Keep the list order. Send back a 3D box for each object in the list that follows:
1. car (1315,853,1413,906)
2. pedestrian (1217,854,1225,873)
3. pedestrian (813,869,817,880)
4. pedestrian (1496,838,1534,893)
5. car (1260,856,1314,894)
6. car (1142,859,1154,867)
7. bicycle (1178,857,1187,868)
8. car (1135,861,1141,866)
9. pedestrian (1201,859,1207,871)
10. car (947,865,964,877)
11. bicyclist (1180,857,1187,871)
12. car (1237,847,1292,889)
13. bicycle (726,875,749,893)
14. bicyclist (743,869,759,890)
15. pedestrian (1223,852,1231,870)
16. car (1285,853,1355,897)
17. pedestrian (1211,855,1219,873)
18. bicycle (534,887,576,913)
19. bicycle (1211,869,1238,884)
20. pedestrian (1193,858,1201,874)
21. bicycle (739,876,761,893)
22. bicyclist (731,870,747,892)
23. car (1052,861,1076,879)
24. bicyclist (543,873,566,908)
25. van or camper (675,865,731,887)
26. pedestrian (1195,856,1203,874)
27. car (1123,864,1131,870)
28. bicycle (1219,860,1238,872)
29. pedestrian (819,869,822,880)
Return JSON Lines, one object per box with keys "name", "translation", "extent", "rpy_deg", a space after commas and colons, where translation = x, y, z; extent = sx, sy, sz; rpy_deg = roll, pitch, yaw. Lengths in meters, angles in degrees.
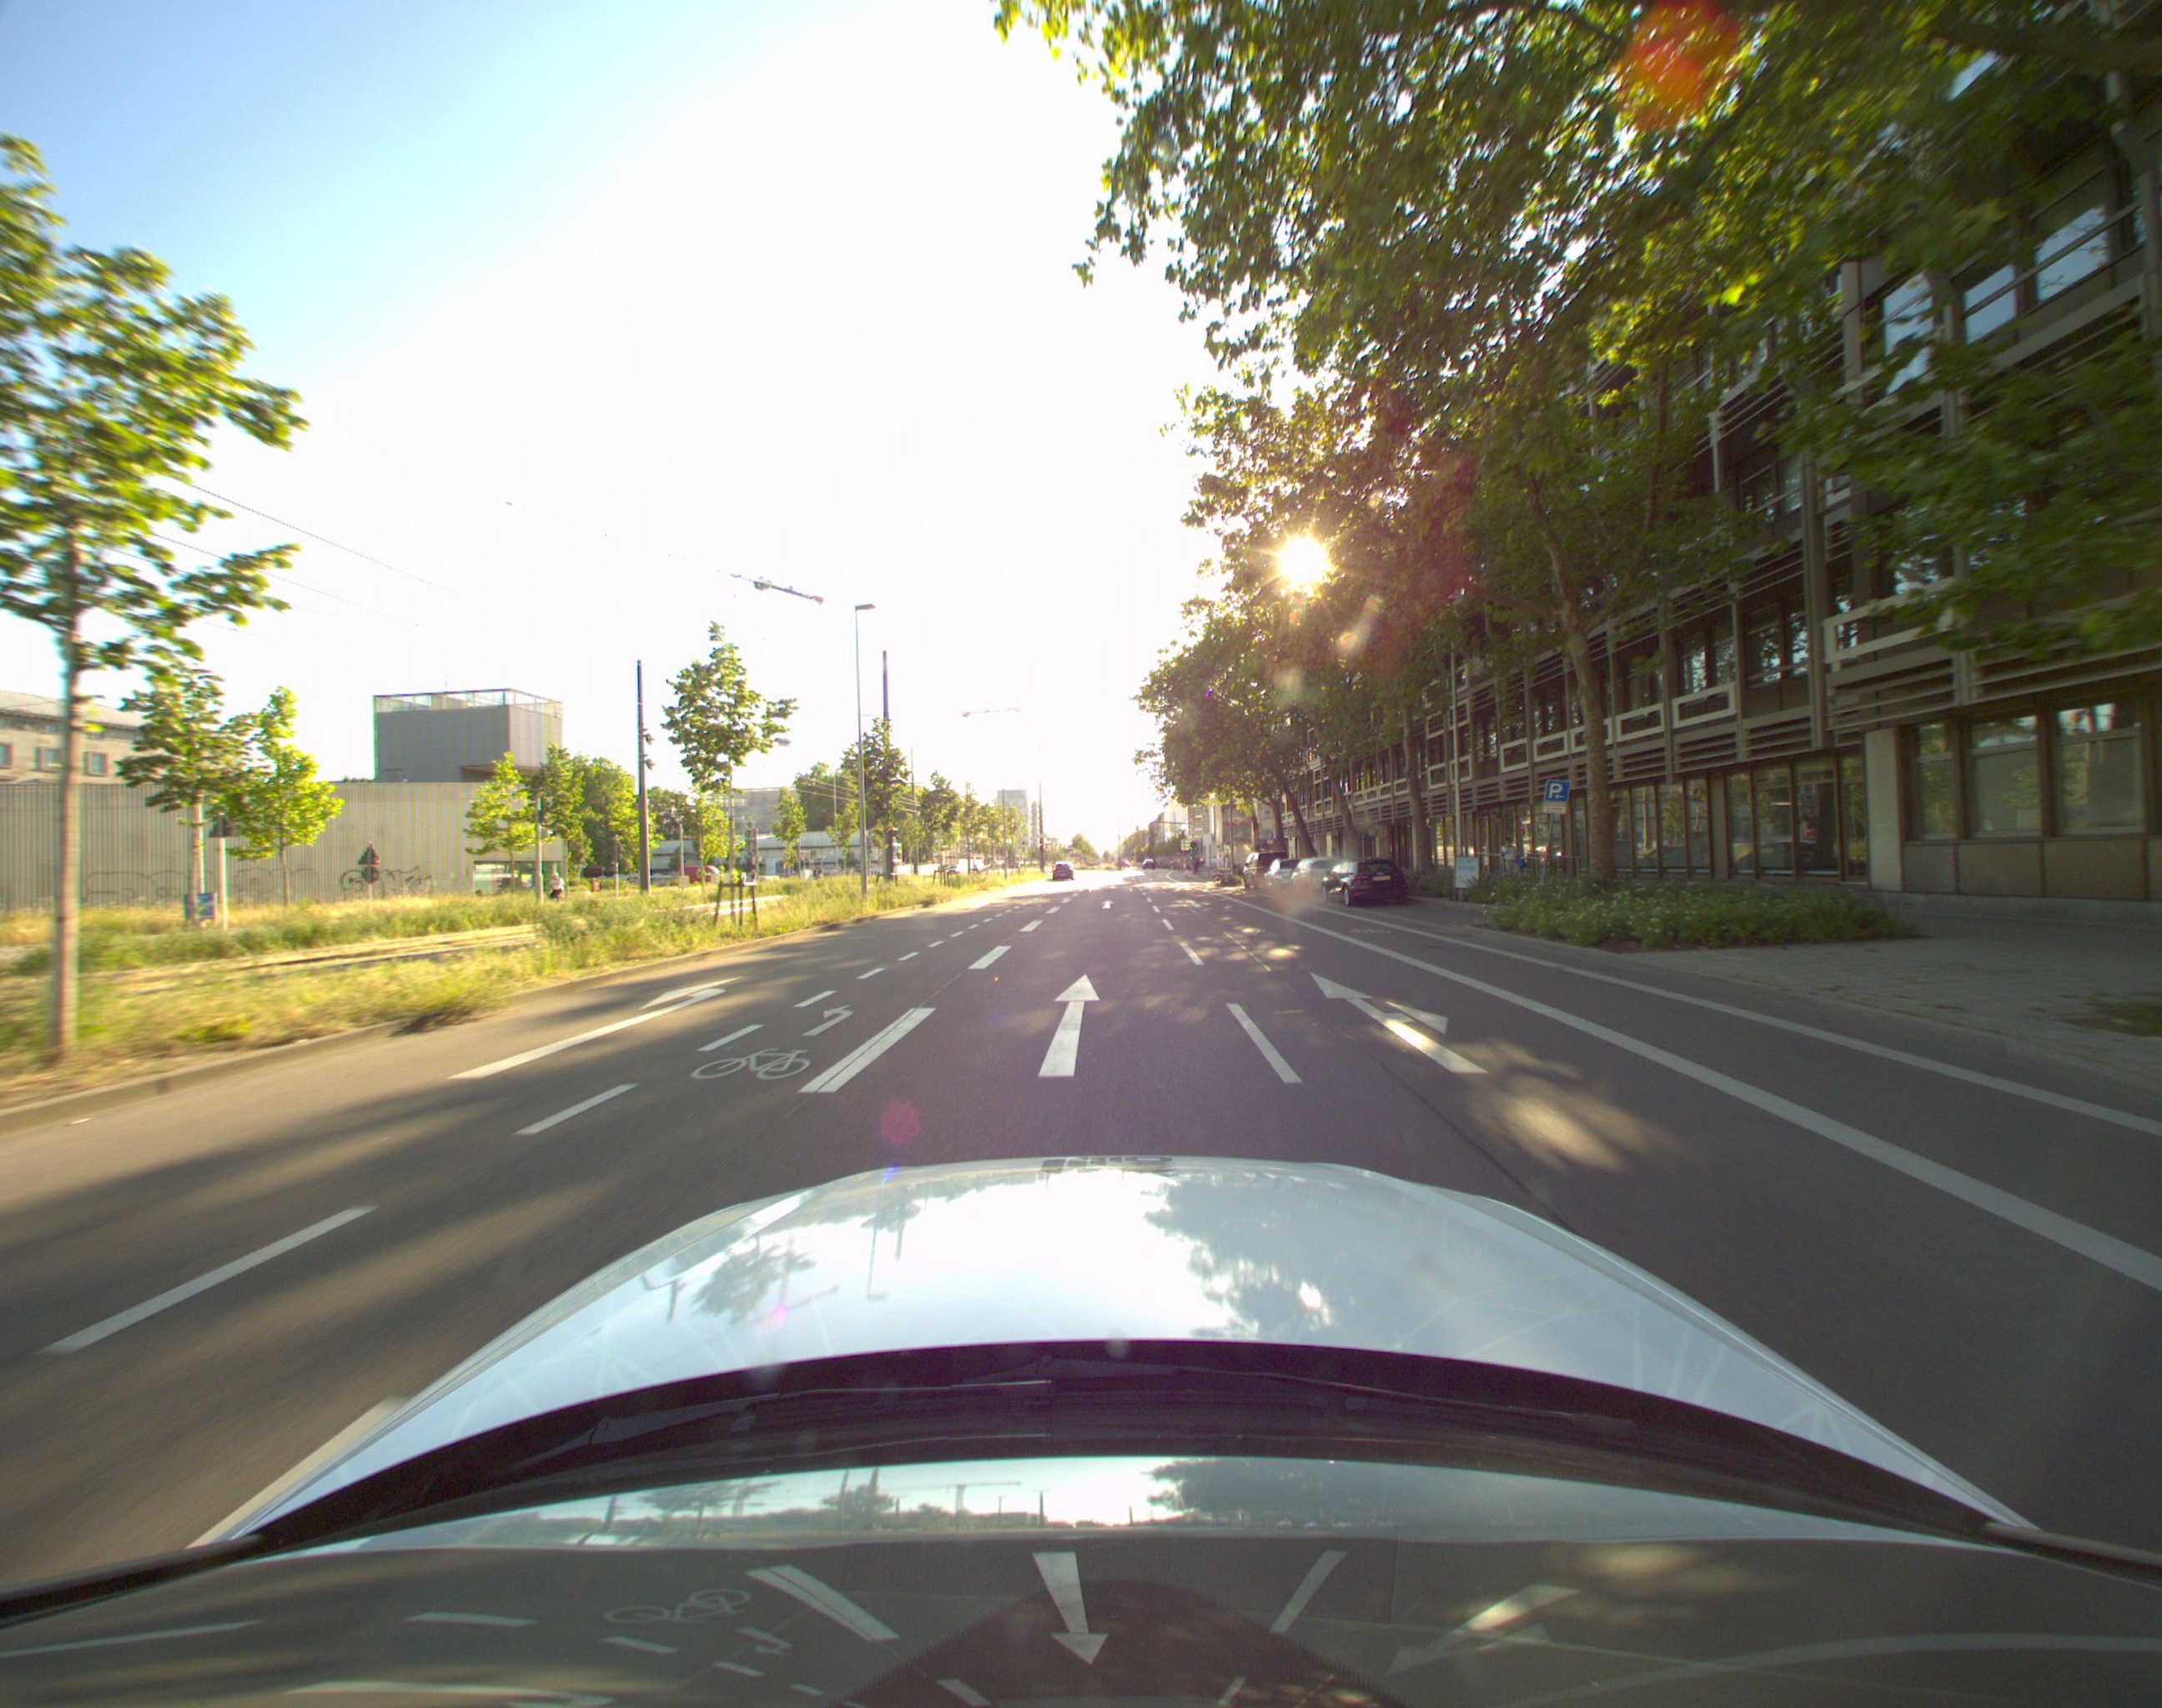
{"name": "car", "translation": [8.751, 0.747, 25.570], "extent": [1.699, 1.418, 4.279], "rpy_deg": [-4, -1, 3]}
{"name": "pedestrian", "translation": [15.963, 1.089, 92.881], "extent": [0.762, 2.060, 0.799], "rpy_deg": [-4, -1, 9]}
{"name": "pedestrian", "translation": [-34.778, 2.711, 106.471], "extent": [0.272, 1.465, 0.279], "rpy_deg": [-1, -1, 2]}
{"name": "pedestrian", "translation": [15.041, 0.391, 28.271], "extent": [0.828, 1.856, 0.847], "rpy_deg": [-2, -1, 1]}
{"name": "car", "translation": [9.421, 0.905, 37.604], "extent": [1.673, 1.514, 5.068], "rpy_deg": [-4, -1, 6]}
{"name": "car", "translation": [11.977, 1.632, 145.750], "extent": [1.933, 1.428, 3.925], "rpy_deg": [-2, 0, 1]}
{"name": "bicycle", "translation": [11.999, 0.983, 96.272], "extent": [0.794, 1.204, 2.271], "rpy_deg": [-2, 0, 11]}
{"name": "car", "translation": [17.282, 2.749, 247.093], "extent": [1.697, 1.428, 3.925], "rpy_deg": [-2, 0, 1]}
{"name": "pedestrian", "translation": [17.832, 1.649, 118.393], "extent": [0.813, 1.734, 0.791], "rpy_deg": [-2, -1, 6]}
{"name": "car", "translation": [-20.064, 2.772, 130.278], "extent": [1.986, 1.776, 4.002], "rpy_deg": [-2, 0, 2]}
{"name": "bicyclist", "translation": [12.091, 1.205, 96.433], "extent": [0.796, 1.602, 0.786], "rpy_deg": [-2, -1, 7]}
{"name": "car", "translation": [9.779, 0.728, 43.798], "extent": [1.822, 1.971, 5.325], "rpy_deg": [-4, -1, 3]}
{"name": "bicycle", "translation": [-23.096, 2.024, 54.829], "extent": [0.581, 1.105, 1.989], "rpy_deg": [-1, 0, 3]}
{"name": "bicyclist", "translation": [-22.298, 1.715, 55.072], "extent": [0.581, 1.442, 1.076], "rpy_deg": [-1, -1, 3]}
{"name": "pedestrian", "translation": [14.155, 0.697, 79.020], "extent": [0.631, 1.703, 0.570], "rpy_deg": [-3, -1, 3]}
{"name": "car", "translation": [9.245, 0.788, 31.776], "extent": [1.675, 1.478, 3.877], "rpy_deg": [-4, -1, 3]}
{"name": "pedestrian", "translation": [15.470, 1.183, 93.810], "extent": [0.762, 2.060, 0.799], "rpy_deg": [-4, -1, 9]}
{"name": "bicycle", "translation": [-23.210, 2.028, 35.985], "extent": [0.556, 1.060, 1.899], "rpy_deg": [-2, -1, 3]}
{"name": "bicycle", "translation": [9.122, 1.429, 51.773], "extent": [1.681, 0.867, 0.574], "rpy_deg": [-3, -1, 10]}
{"name": "pedestrian", "translation": [11.498, 1.190, 80.659], "extent": [0.631, 1.608, 0.570], "rpy_deg": [-3, -1, 3]}
{"name": "bicycle", "translation": [-22.308, 2.060, 54.930], "extent": [0.581, 1.105, 1.989], "rpy_deg": [-1, 0, 3]}
{"name": "bicyclist", "translation": [-23.076, 1.826, 54.931], "extent": [0.581, 1.442, 1.076], "rpy_deg": [-1, -1, 3]}
{"name": "car", "translation": [-1.320, 1.284, 65.990], "extent": [1.771, 1.428, 4.000], "rpy_deg": [-1, 0, 1]}
{"name": "bicyclist", "translation": [-23.218, 1.590, 35.914], "extent": [0.554, 1.507, 0.668], "rpy_deg": [-2, -1, 2]}
{"name": "van or camper", "translation": [-45.794, 2.612, 98.715], "extent": [5.635, 2.414, 2.157], "rpy_deg": [-2, -1, 3]}
{"name": "pedestrian", "translation": [11.825, 1.115, 81.335], "extent": [0.631, 1.703, 0.570], "rpy_deg": [-3, -1, 3]}
{"name": "car", "translation": [11.564, 3.277, 203.610], "extent": [1.753, 1.485, 3.850], "rpy_deg": [-2, 0, 1]}
{"name": "bicycle", "translation": [14.500, 1.159, 80.095], "extent": [1.796, 1.086, 0.479], "rpy_deg": [-3, -1, 3]}
{"name": "pedestrian", "translation": [-34.106, 2.717, 106.660], "extent": [0.273, 1.465, 0.315], "rpy_deg": [-1, -1, -8]}
